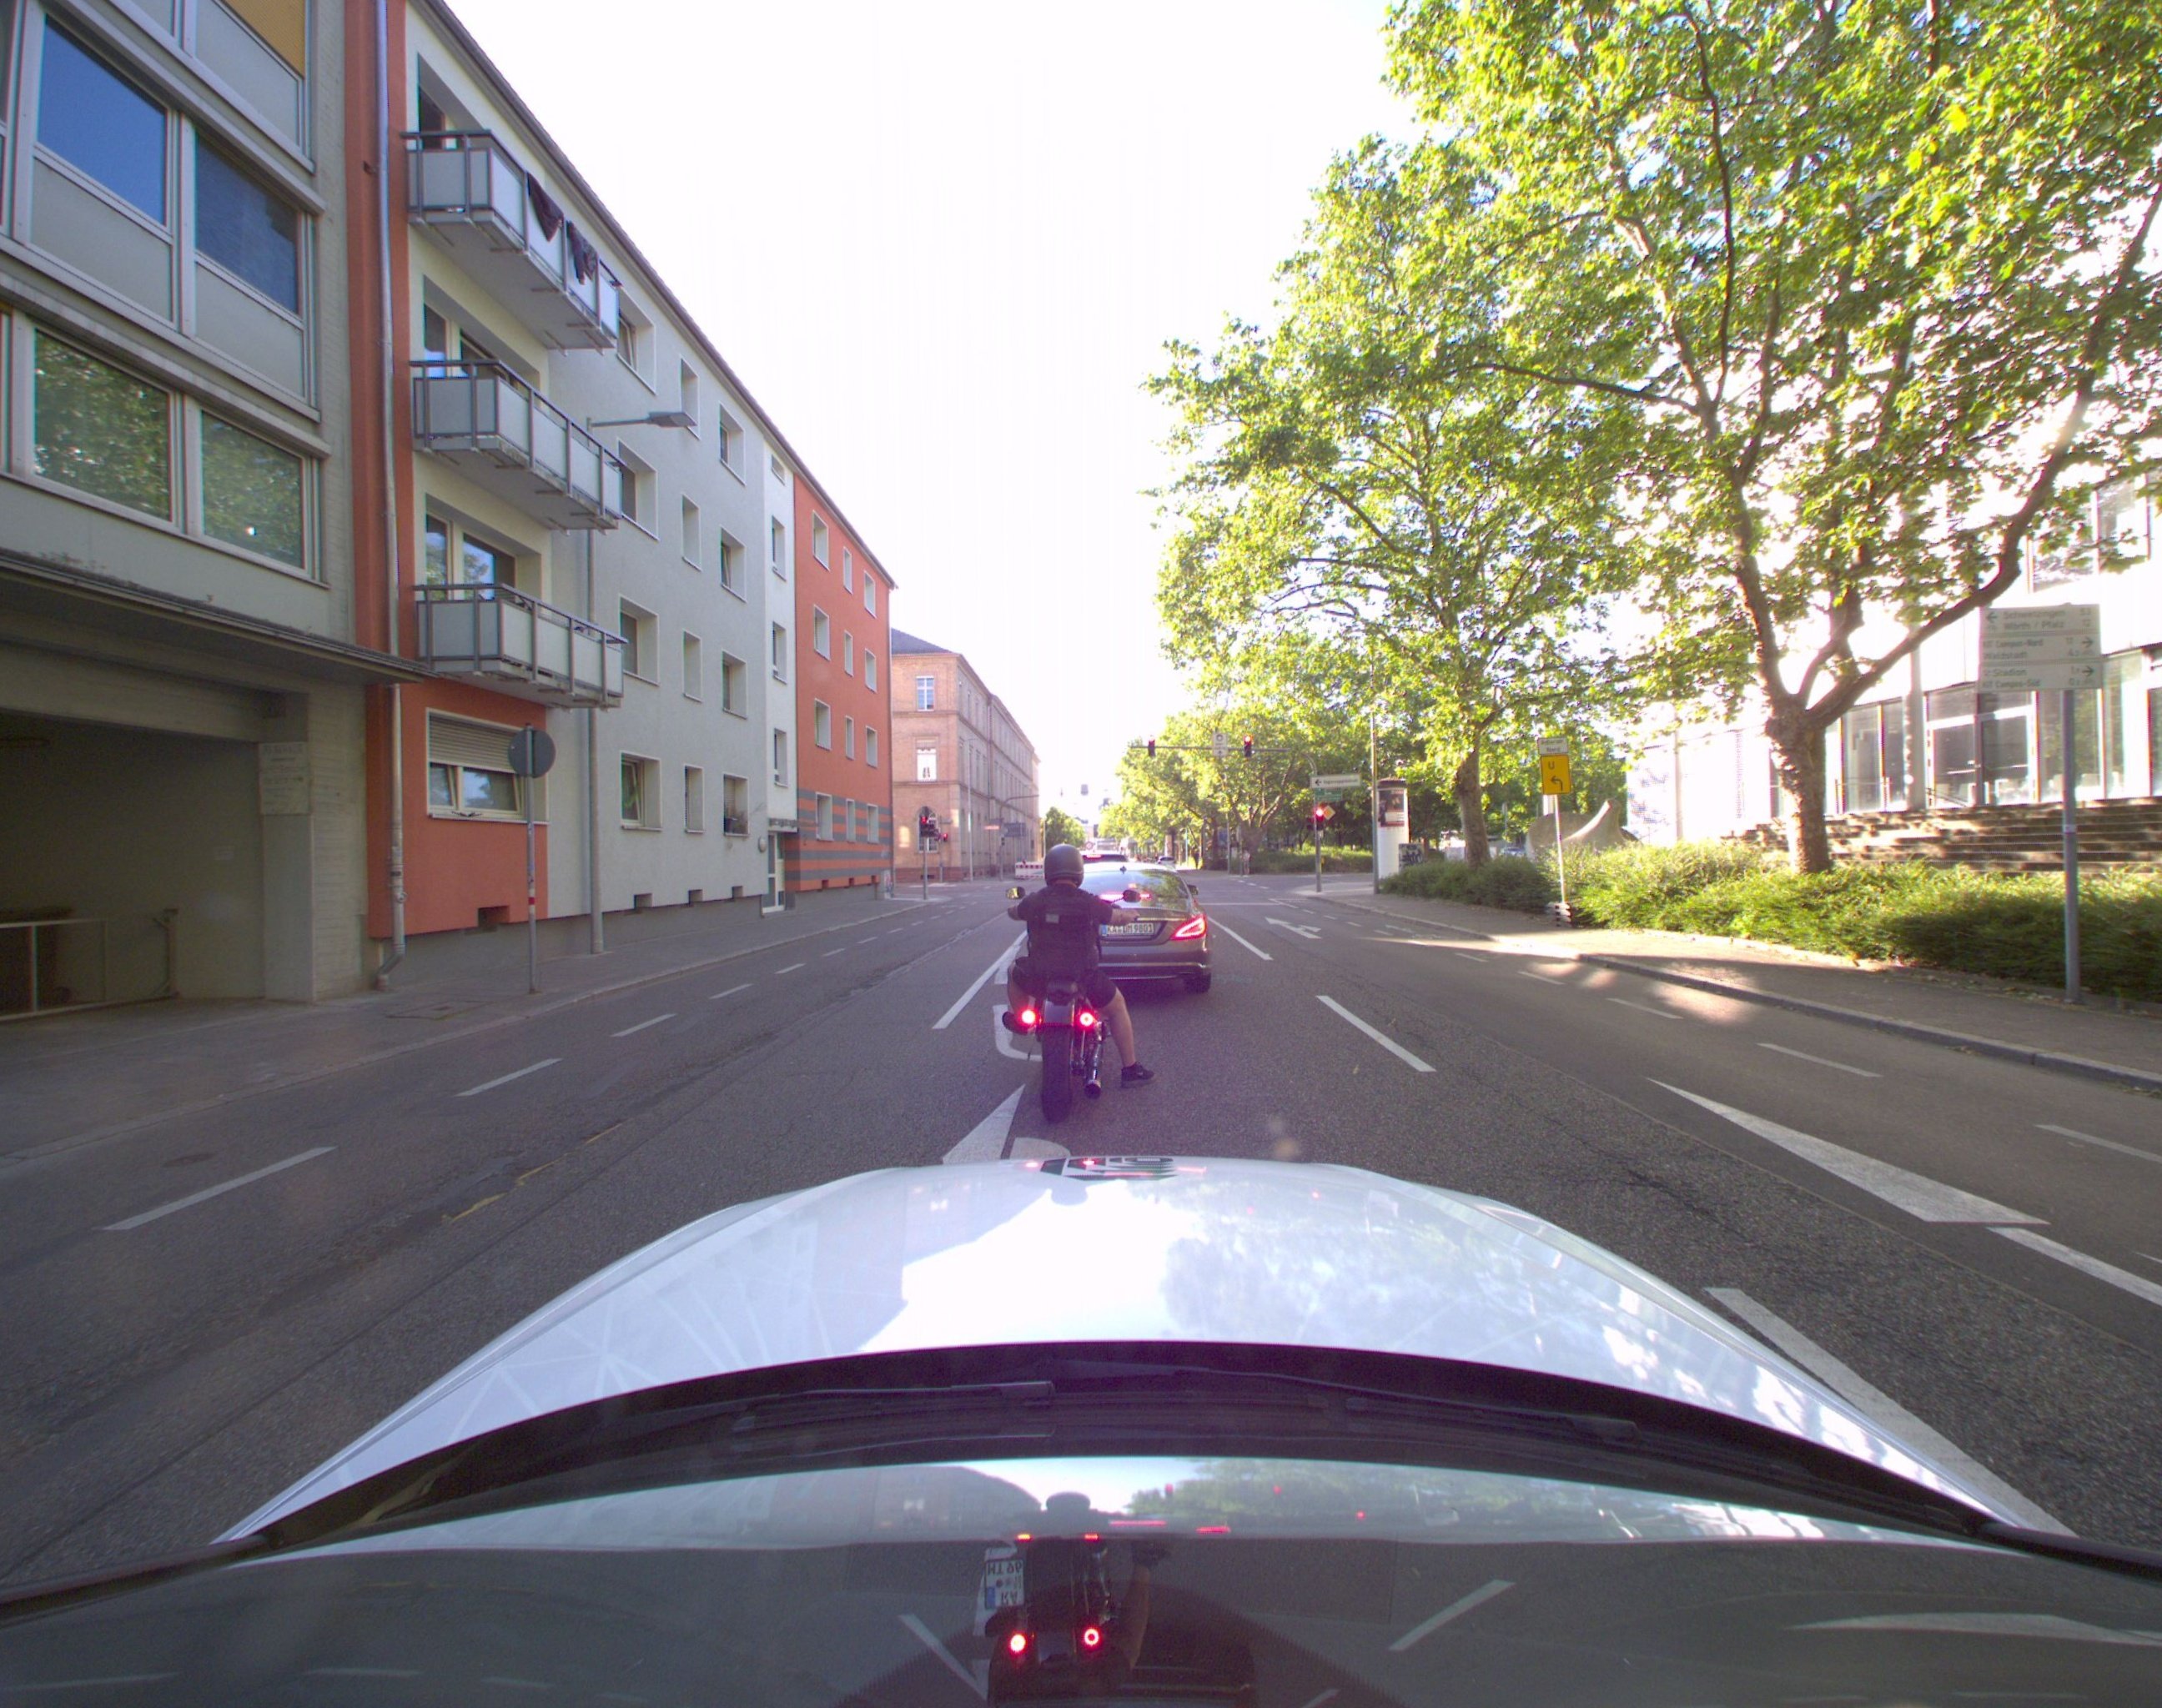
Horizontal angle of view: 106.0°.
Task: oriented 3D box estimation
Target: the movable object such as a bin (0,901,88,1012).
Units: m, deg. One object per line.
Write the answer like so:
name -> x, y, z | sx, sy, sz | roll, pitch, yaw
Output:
movable object such as a bin -> -11.257, 1.068, 8.645 | 0.626, 1.100, 0.659 | 0, -1, 4

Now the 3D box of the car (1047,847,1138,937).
car -> 0.276, 0.694, 16.869 | 1.615, 1.594, 4.002 | -1, 0, 2

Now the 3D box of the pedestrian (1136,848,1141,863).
pedestrian -> 7.712, 0.256, 109.399 | 0.654, 2.014, 0.933 | 0, -1, 2

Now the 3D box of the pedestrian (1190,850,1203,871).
pedestrian -> 10.482, 0.596, 74.147 | 0.753, 1.910, 0.918 | 0, -1, -26

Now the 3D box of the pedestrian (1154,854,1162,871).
pedestrian -> 9.290, 1.009, 98.439 | 0.811, 2.014, 1.271 | 0, -1, 2

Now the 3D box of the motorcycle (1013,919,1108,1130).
motorcycle -> -0.077, 1.006, 5.435 | 0.511, 1.002, 2.014 | 0, -1, 2

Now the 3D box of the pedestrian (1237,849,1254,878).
pedestrian -> 10.674, 0.619, 52.865 | 0.996, 1.826, 1.078 | 0, -1, 8

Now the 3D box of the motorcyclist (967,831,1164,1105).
motorcyclist -> -0.072, 0.673, 5.429 | 1.145, 1.598, 1.288 | 0, -1, 1

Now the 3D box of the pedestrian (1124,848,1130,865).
pedestrian -> 5.711, 0.278, 100.964 | 0.761, 2.051, 0.712 | 0, -1, 1

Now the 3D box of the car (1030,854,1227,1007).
car -> 0.517, 0.741, 9.741 | 1.875, 1.449, 3.821 | 0, 0, 2

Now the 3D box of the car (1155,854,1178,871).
car -> 7.721, 0.755, 73.923 | 1.769, 1.428, 3.804 | -1, 0, 2
